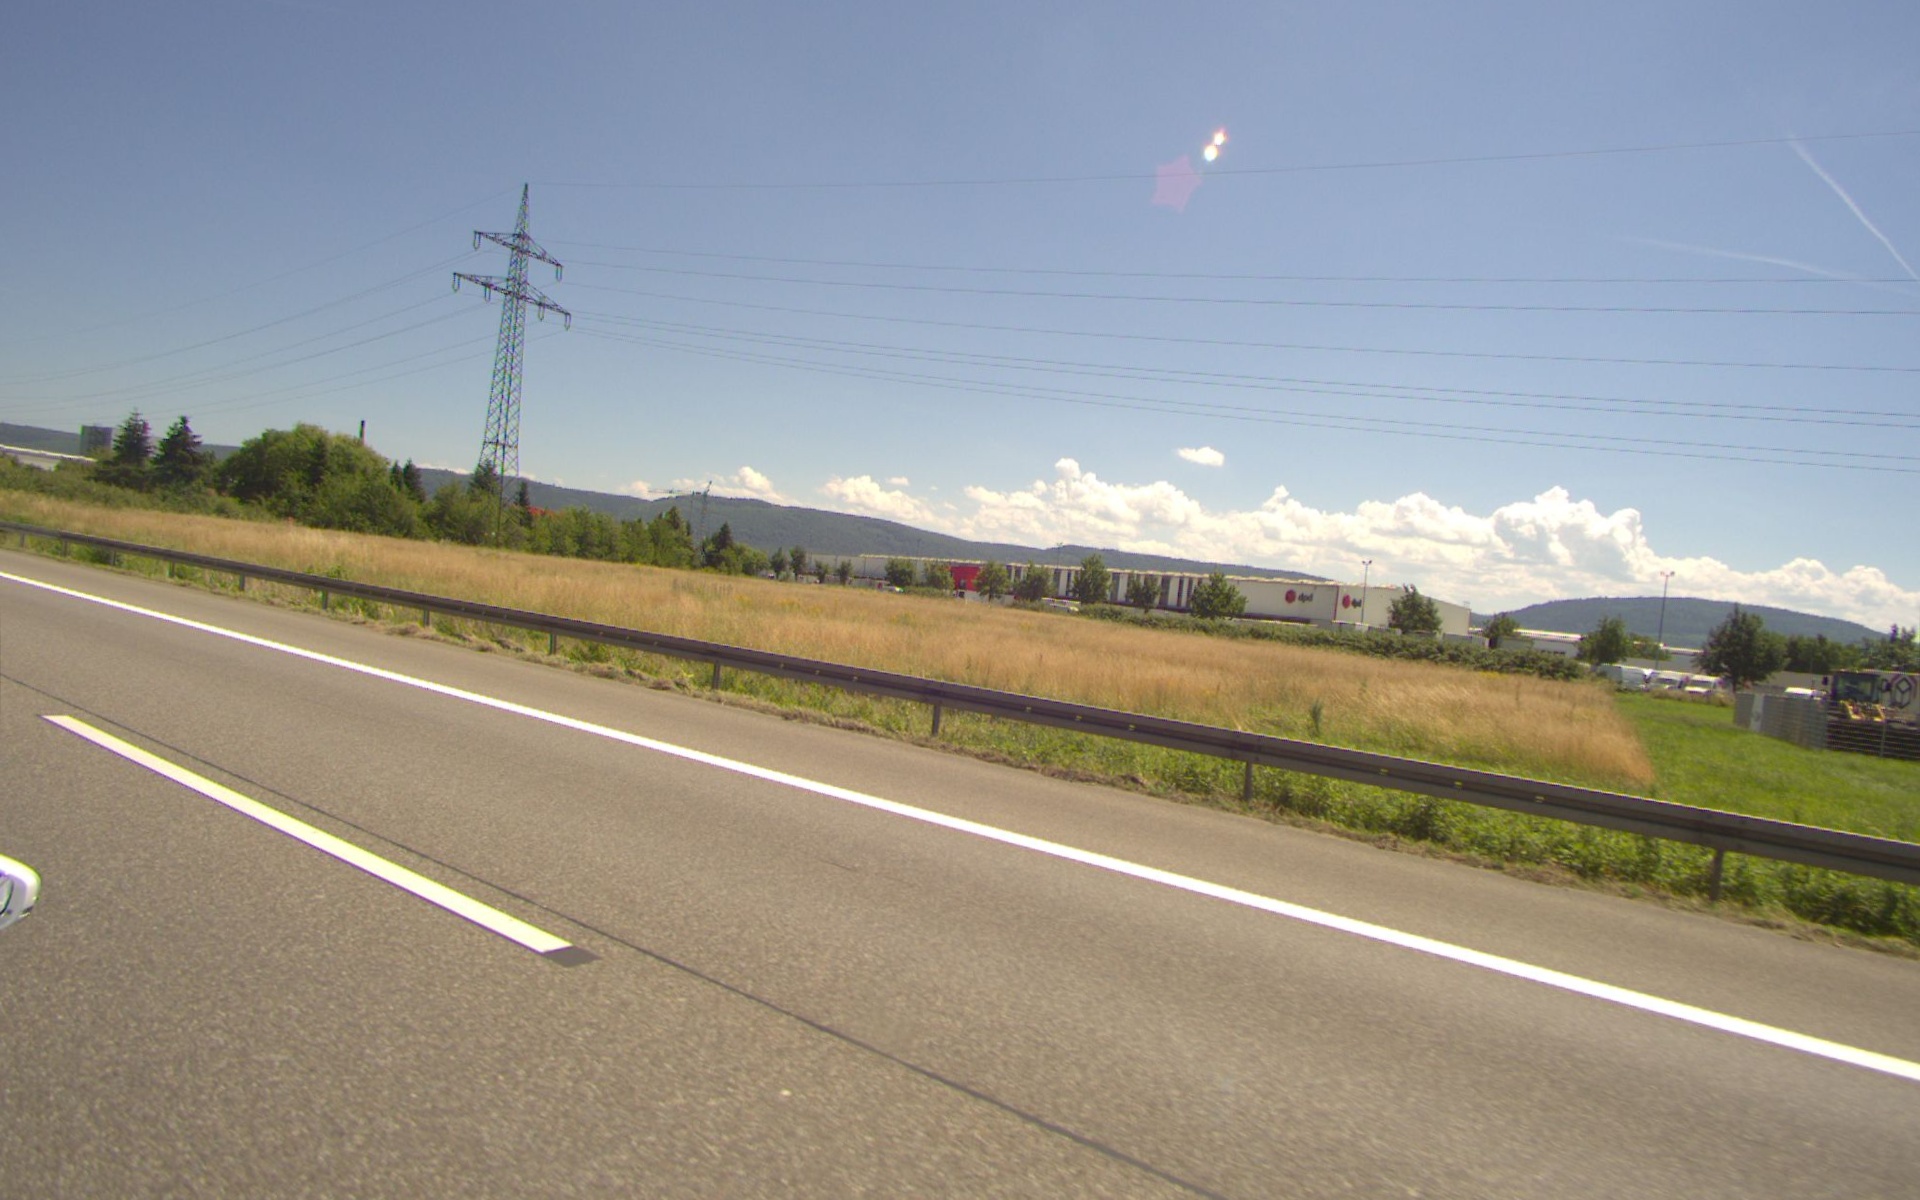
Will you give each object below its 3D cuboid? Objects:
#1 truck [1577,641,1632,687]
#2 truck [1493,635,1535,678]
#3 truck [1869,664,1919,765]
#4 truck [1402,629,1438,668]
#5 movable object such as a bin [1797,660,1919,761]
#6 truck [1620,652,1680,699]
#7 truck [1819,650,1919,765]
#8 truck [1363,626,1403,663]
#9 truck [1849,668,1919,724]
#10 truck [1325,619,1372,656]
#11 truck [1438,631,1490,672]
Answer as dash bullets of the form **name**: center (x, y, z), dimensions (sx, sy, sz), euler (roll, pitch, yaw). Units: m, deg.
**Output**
- **truck**: center (55.205, 5.412, 86.336), dimensions (2.708, 3.455, 8.161), euler (7, 1, 26)
- **truck**: center (51.295, 5.219, 93.348), dimensions (2.708, 3.455, 8.161), euler (7, 1, 26)
- **truck**: center (53.015, 6.404, 47.791), dimensions (13.906, 4.827, 3.049), euler (6, -2, 34)
- **truck**: center (46.051, 4.808, 100.772), dimensions (2.779, 3.455, 8.164), euler (7, 1, 25)
- **movable object such as a bin**: center (37.393, 4.618, 41.800), dimensions (2.835, 3.502, 7.577), euler (6, -2, 34)
- **truck**: center (58.102, 6.295, 84.877), dimensions (2.708, 3.455, 8.161), euler (7, 1, 26)
- **truck**: center (47.403, 5.502, 44.121), dimensions (14.093, 4.827, 3.049), euler (6, -2, 34)
- **truck**: center (43.731, 4.620, 103.906), dimensions (2.780, 3.455, 8.159), euler (7, 1, 28)
- **truck**: center (67.079, 6.861, 71.370), dimensions (2.480, 3.455, 8.172), euler (6, 1, 17)
- **truck**: center (41.691, 4.092, 107.745), dimensions (2.783, 3.455, 8.151), euler (7, 1, 32)
- **truck**: center (48.630, 5.004, 96.958), dimensions (2.786, 3.455, 8.143), euler (7, 1, 36)
